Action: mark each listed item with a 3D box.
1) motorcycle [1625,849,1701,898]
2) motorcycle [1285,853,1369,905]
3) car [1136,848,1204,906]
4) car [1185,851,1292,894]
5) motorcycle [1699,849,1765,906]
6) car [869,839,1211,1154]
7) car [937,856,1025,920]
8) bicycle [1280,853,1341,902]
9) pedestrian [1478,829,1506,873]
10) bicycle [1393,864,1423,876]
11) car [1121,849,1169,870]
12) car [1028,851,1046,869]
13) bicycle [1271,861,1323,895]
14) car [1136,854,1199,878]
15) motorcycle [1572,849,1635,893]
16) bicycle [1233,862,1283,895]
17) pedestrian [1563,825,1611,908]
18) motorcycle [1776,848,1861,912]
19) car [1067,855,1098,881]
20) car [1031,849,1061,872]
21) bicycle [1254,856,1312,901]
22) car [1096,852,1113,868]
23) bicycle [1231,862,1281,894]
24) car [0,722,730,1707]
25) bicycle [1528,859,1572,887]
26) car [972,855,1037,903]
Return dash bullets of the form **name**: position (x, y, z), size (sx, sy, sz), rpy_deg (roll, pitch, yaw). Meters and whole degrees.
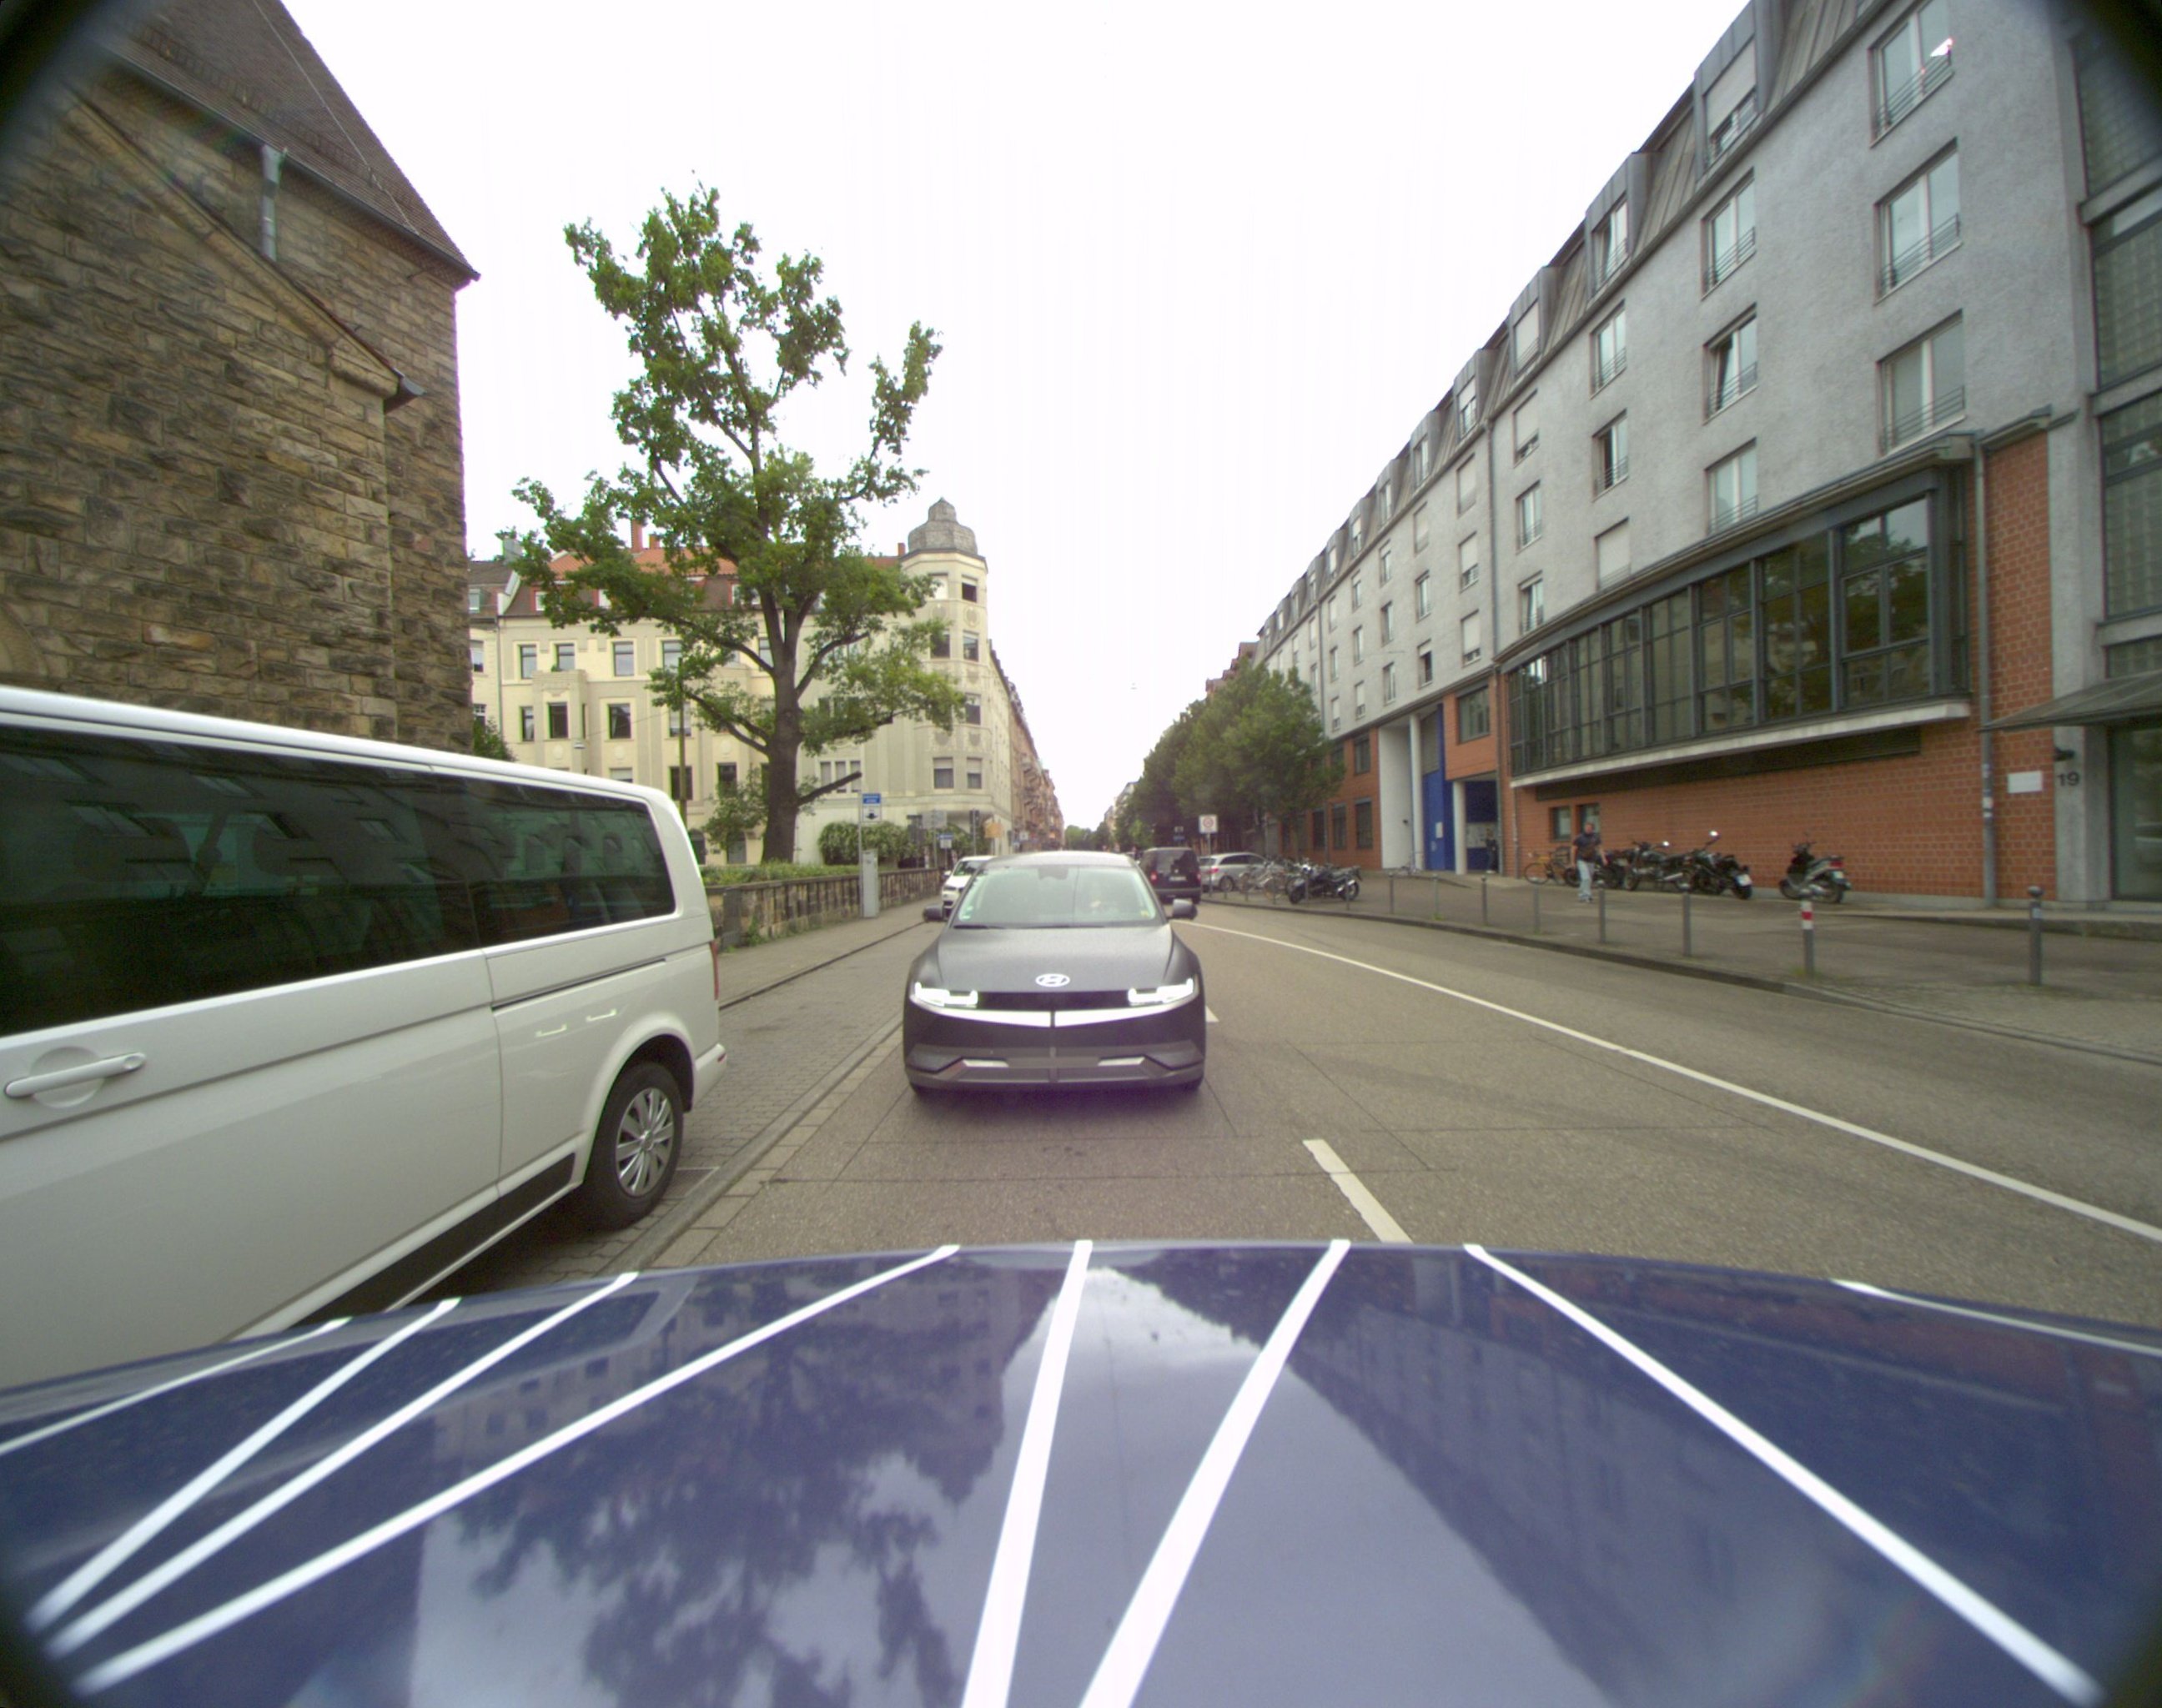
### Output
- **motorcycle**: position (13.645, 0.443, 17.867), size (0.446, 1.091, 1.763), rpy_deg (-2, 0, 1)
- **motorcycle**: position (6.953, 0.702, 21.498), size (2.124, 1.345, 0.599), rpy_deg (-3, 1, 1)
- **car**: position (2.936, 0.731, 25.868), size (1.698, 1.793, 4.128), rpy_deg (-1, 0, -2)
- **car**: position (6.509, 0.727, 31.451), size (4.004, 1.619, 1.769), rpy_deg (-2, 0, -22)
- **motorcycle**: position (13.311, 0.450, 15.589), size (0.445, 1.091, 1.765), rpy_deg (-1, 0, 21)
- **car**: position (-0.196, 0.777, 6.145), size (1.820, 1.675, 4.000), rpy_deg (-2, 0, 1)
- **car**: position (-2.683, 0.864, 21.213), size (1.820, 1.556, 4.000), rpy_deg (-2, 0, 1)
- **bicycle**: position (6.836, 0.687, 22.684), size (1.630, 1.345, 0.416), rpy_deg (-3, 1, -1)
- **pedestrian**: position (15.468, -0.120, 28.621), size (0.686, 1.640, 0.622), rpy_deg (-2, 1, 2)
- **bicycle**: position (13.389, 0.640, 31.101), size (1.010, 0.434, 0.527), rpy_deg (-2, 2, 2)
- **car**: position (6.076, 0.540, 72.344), size (4.004, 1.897, 1.996), rpy_deg (-2, 0, -22)
- **car**: position (-3.925, 0.539, 67.978), size (1.336, 1.462, 2.857), rpy_deg (-2, 1, 1)
- **bicycle**: position (7.402, 0.830, 26.052), size (1.630, 1.067, 0.416), rpy_deg (-3, 1, -1)
- **car**: position (6.003, 0.834, 52.682), size (4.004, 1.488, 1.735), rpy_deg (-2, 0, -22)
- **motorcycle**: position (13.641, 0.420, 19.875), size (0.446, 1.091, 1.763), rpy_deg (-2, 0, 1)
- **bicycle**: position (6.281, 0.866, 27.005), size (1.630, 1.067, 0.416), rpy_deg (-3, 1, -1)
- **pedestrian**: position (11.313, 0.271, 17.004), size (0.621, 1.812, 0.642), rpy_deg (-2, 1, 1)
- **motorcycle**: position (13.513, 0.442, 13.973), size (0.445, 1.091, 1.765), rpy_deg (-1, 0, 21)
- **car**: position (0.124, 0.901, 51.160), size (1.910, 1.597, 4.251), rpy_deg (-2, 0, 2)
- **car**: position (-2.416, 0.436, 53.619), size (1.820, 1.556, 4.000), rpy_deg (-2, 0, 1)
- **bicycle**: position (6.217, 0.737, 23.423), size (1.630, 1.282, 0.416), rpy_deg (-3, 1, -1)
- **car**: position (2.798, 0.708, 90.932), size (1.998, 1.897, 4.000), rpy_deg (-2, 0, 1)
- **bicycle**: position (6.322, 0.857, 27.455), size (1.630, 1.067, 0.416), rpy_deg (-3, 1, -1)
- **car**: position (-2.777, 0.747, 1.447), size (1.810, 1.908, 5.163), rpy_deg (-2, 0, -1)
- **bicycle**: position (13.852, 0.537, 22.459), size (0.336, 0.782, 1.581), rpy_deg (-2, 0, 1)
- **car**: position (-2.645, 0.831, 27.131), size (1.820, 1.556, 4.000), rpy_deg (-2, 0, 1)
